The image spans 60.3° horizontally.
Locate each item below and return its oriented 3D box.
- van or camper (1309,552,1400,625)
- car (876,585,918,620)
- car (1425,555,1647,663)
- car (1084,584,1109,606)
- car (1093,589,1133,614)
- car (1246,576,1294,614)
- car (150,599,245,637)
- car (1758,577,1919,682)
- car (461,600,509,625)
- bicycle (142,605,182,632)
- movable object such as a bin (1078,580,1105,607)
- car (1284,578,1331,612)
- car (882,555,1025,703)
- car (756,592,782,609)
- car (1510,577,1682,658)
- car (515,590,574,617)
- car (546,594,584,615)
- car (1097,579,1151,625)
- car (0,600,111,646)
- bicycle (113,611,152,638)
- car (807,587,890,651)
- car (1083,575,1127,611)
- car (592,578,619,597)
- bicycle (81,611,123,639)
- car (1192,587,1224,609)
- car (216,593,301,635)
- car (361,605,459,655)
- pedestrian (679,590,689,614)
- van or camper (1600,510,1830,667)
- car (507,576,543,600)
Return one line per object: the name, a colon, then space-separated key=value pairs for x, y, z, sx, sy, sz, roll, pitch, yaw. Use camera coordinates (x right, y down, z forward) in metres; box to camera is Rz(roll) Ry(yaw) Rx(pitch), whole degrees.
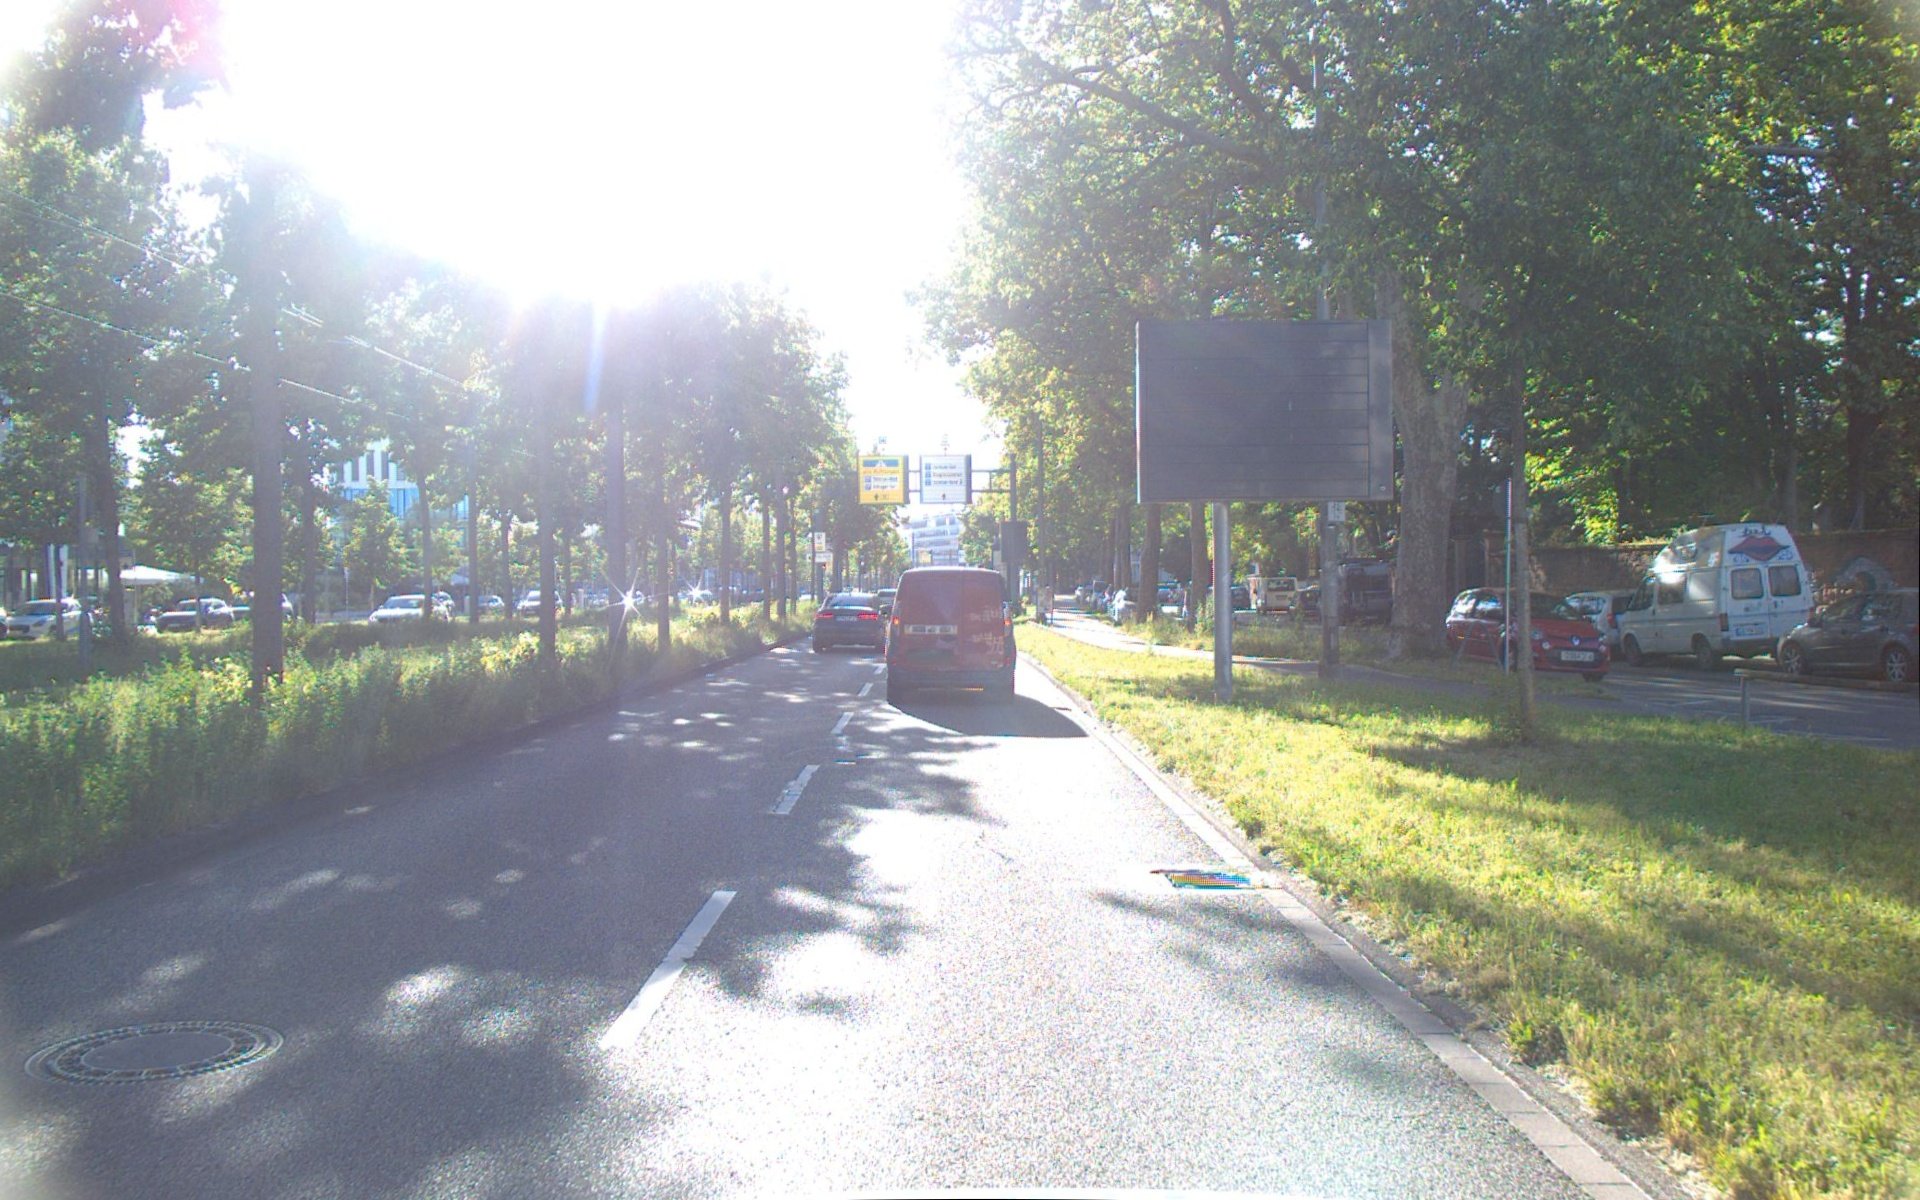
van or camper: x=16.135 y=-0.486 z=68.062 sx=2.503 sy=2.731 sz=6.568 roll=-2 pitch=0 yaw=4
car: x=-3.091 y=0.114 z=81.920 sx=1.953 sy=1.646 sz=3.999 roll=1 pitch=0 yaw=0
car: x=9.635 y=0.148 z=28.036 sx=1.956 sy=1.668 sz=3.993 roll=1 pitch=0 yaw=-8
car: x=9.723 y=-0.321 z=117.795 sx=1.627 sy=1.527 sz=2.990 roll=1 pitch=0 yaw=2
car: x=8.646 y=0.097 z=93.740 sx=1.952 sy=1.312 sz=4.053 roll=1 pitch=0 yaw=1
car: x=17.133 y=-0.272 z=91.530 sx=2.043 sy=2.049 sz=4.945 roll=0 pitch=0 yaw=4
car: x=-31.238 y=0.734 z=67.902 sx=1.918 sy=1.466 sz=4.265 roll=1 pitch=0 yaw=0
car: x=15.313 y=0.443 z=27.226 sx=1.957 sy=1.601 sz=3.990 roll=-1 pitch=0 yaw=-10
car: x=-32.518 y=0.825 z=113.355 sx=1.840 sy=1.649 sz=4.611 roll=1 pitch=0 yaw=0
bicycle: x=-38.576 y=0.876 z=79.960 sx=0.576 sy=1.274 sz=1.840 roll=1 pitch=0 yaw=21
movable object such as a bin: x=10.165 y=-0.525 z=128.096 sx=2.038 sy=2.049 sz=2.137 roll=1 pitch=0 yaw=3
car: x=16.377 y=-0.226 z=78.140 sx=1.654 sy=1.498 sz=3.760 roll=-3 pitch=0 yaw=5
car: x=-0.170 y=0.382 z=23.370 sx=1.773 sy=1.870 sz=3.997 roll=1 pitch=0 yaw=-3
car: x=-18.608 y=0.015 z=161.262 sx=1.952 sy=1.599 sz=4.167 roll=0 pitch=0 yaw=2
car: x=14.669 y=0.379 z=38.366 sx=1.807 sy=1.646 sz=3.989 roll=-4 pitch=1 yaw=-11
car: x=-23.226 y=0.206 z=92.526 sx=1.952 sy=1.466 sz=4.704 roll=1 pitch=0 yaw=2
car: x=-32.295 y=0.355 z=135.207 sx=1.952 sy=1.636 sz=4.611 roll=1 pitch=0 yaw=0
car: x=6.156 y=0.095 z=62.380 sx=1.756 sy=1.587 sz=4.021 roll=3 pitch=0 yaw=2
car: x=-31.376 y=0.773 z=57.122 sx=1.954 sy=1.466 sz=4.453 roll=1 pitch=0 yaw=-3
bicycle: x=-38.511 y=1.112 z=76.984 sx=0.718 sy=1.219 sz=2.240 roll=1 pitch=0 yaw=-1
car: x=-2.671 y=0.454 z=40.503 sx=1.755 sy=1.453 sz=3.999 roll=1 pitch=0 yaw=0
car: x=8.667 y=-0.390 z=99.189 sx=2.145 sy=2.049 sz=5.820 roll=1 pitch=0 yaw=1
car: x=-39.122 y=-1.365 z=182.496 sx=1.952 sy=2.049 sz=4.563 roll=1 pitch=0 yaw=0
bicycle: x=-38.516 y=1.101 z=74.256 sx=0.718 sy=1.219 sz=2.240 roll=1 pitch=0 yaw=-1
car: x=19.696 y=-0.129 z=131.241 sx=1.952 sy=1.668 sz=4.000 roll=1 pitch=0 yaw=1
car: x=-31.461 y=0.611 z=74.307 sx=1.954 sy=1.803 sz=4.774 roll=1 pitch=0 yaw=-3
car: x=-20.140 y=1.070 z=60.787 sx=1.953 sy=1.715 sz=5.109 roll=1 pitch=0 yaw=-1
pedestrian: x=-17.859 y=0.111 z=107.022 sx=0.538 sy=1.545 sz=0.589 roll=1 pitch=-1 yaw=4
van or camper: x=14.879 y=-0.204 z=32.953 sx=1.954 sy=2.778 sz=4.961 roll=-3 pitch=0 yaw=-4
car: x=-39.181 y=-1.050 z=149.104 sx=1.952 sy=2.049 sz=4.563 roll=1 pitch=0 yaw=0
